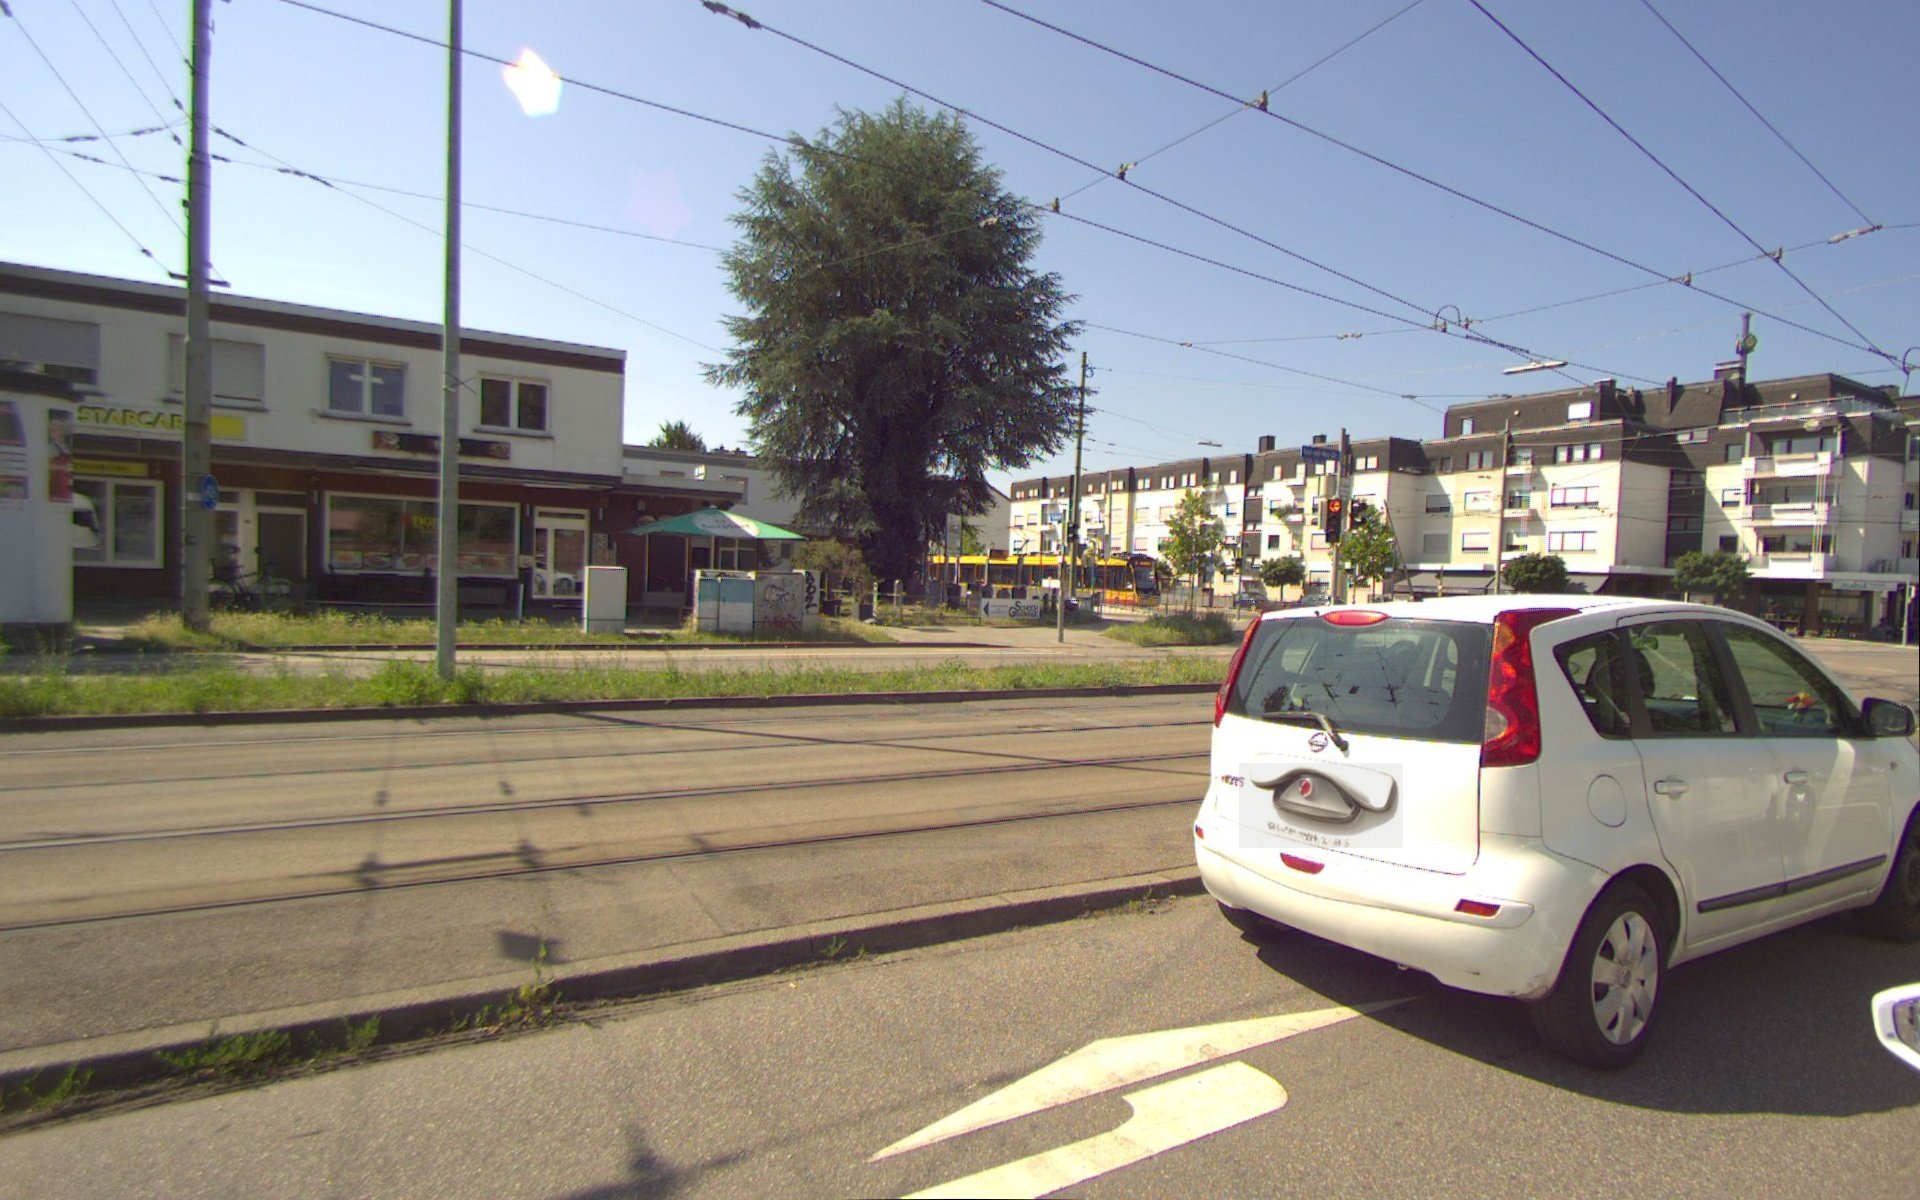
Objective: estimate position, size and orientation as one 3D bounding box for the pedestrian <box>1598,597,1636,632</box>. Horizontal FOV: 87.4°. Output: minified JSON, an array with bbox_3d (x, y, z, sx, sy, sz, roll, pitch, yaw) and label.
[{"bbox_3d":[36.627,0.811,56.058,1.410,1.861,1.123,2,1,14],"label":"pedestrian"}]

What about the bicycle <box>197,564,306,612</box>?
[{"bbox_3d":[-15.672,-0.256,22.277,1.889,0.996,0.754,1,1,-30],"label":"bicycle"}]

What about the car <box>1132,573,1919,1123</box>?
[{"bbox_3d":[2.935,0.747,4.670,4.019,1.582,1.757,1,0,-30],"label":"car"}]

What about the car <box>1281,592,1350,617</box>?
[{"bbox_3d":[23.906,0.288,67.632,1.807,1.520,4.151,1,1,-30],"label":"car"}]

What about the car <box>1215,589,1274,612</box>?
[{"bbox_3d":[20.634,0.022,72.954,1.807,1.520,3.967,1,1,-30],"label":"car"}]

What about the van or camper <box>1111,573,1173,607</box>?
[{"bbox_3d":[14.959,-0.868,82.862,2.349,2.660,4.850,1,1,-31],"label":"van or camper"}]

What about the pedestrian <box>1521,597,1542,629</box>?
[{"bbox_3d":[32.812,0.744,57.685,0.795,1.783,0.764,2,1,11],"label":"pedestrian"}]

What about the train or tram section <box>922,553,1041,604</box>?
[{"bbox_3d":[1.390,-1.782,79.867,2.736,3.707,13.795,1,1,-30],"label":"train or tram section"}]

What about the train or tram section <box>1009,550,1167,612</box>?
[{"bbox_3d":[8.223,-1.357,67.861,2.736,3.707,13.795,1,1,-30],"label":"train or tram section"}]
